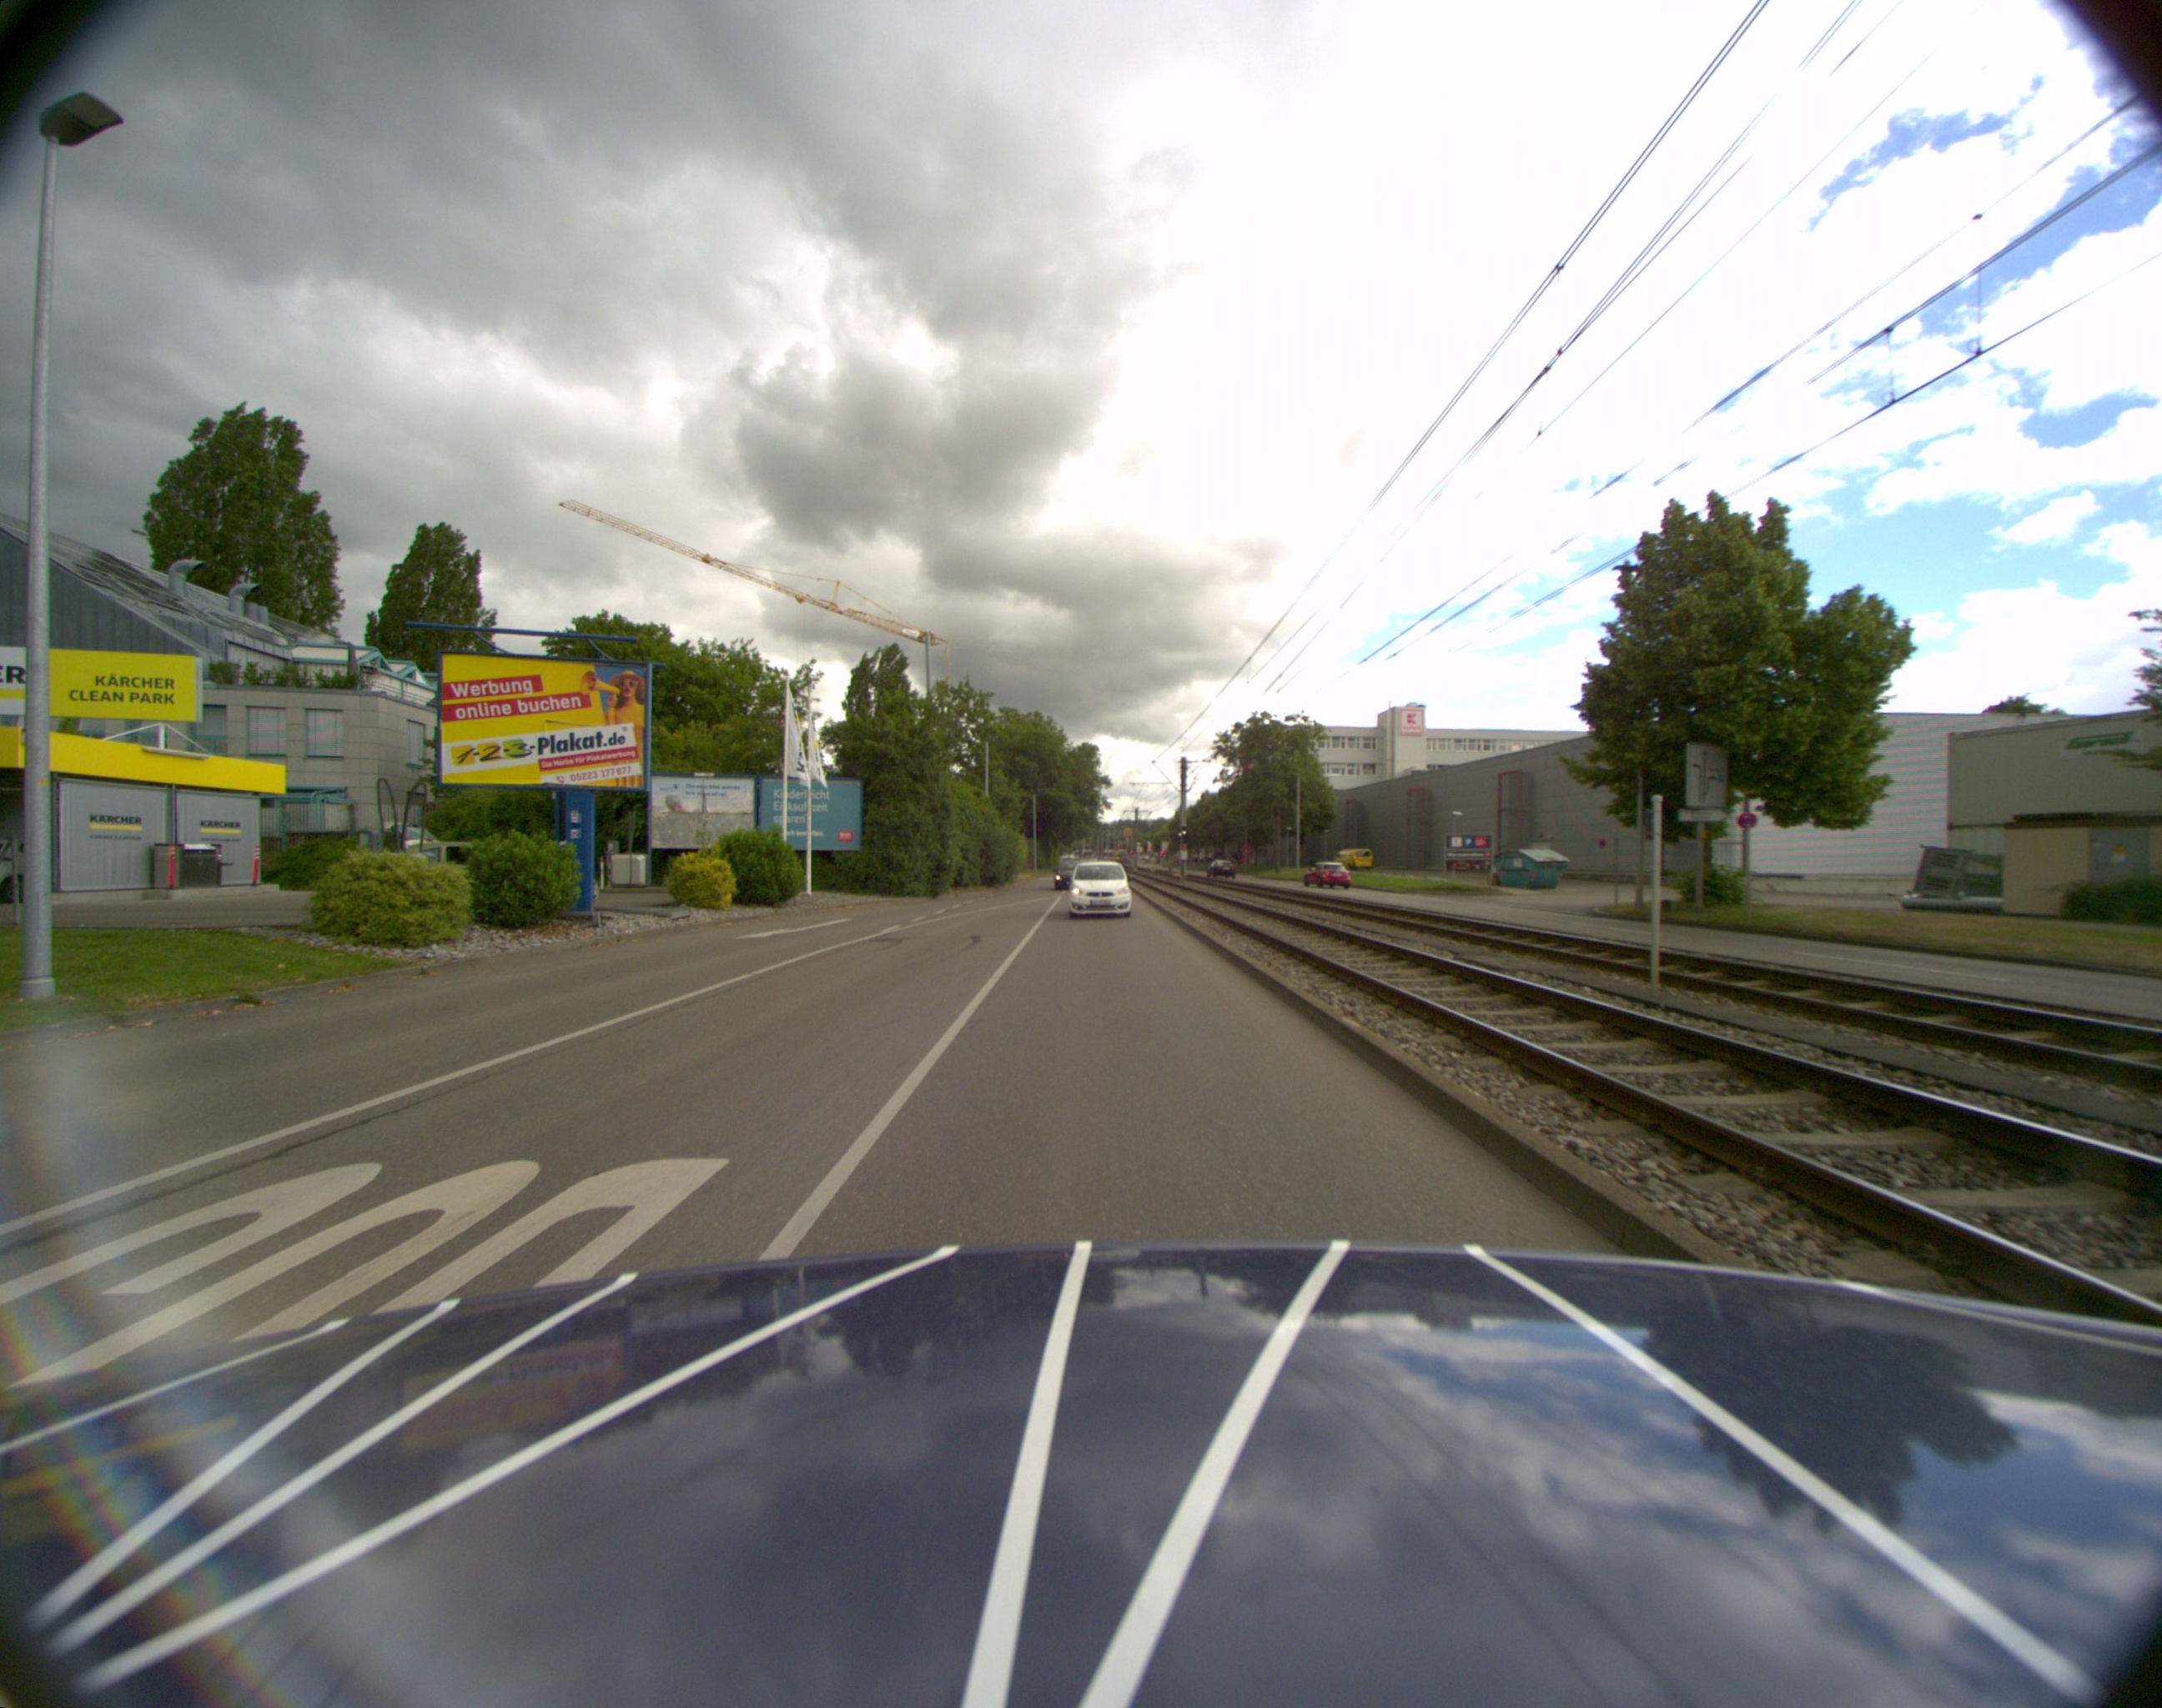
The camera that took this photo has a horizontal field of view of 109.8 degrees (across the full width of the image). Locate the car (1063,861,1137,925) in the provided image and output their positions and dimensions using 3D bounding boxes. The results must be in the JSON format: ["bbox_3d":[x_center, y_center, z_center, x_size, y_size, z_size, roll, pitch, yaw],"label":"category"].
[{"bbox_3d":[0.469,0.975,20.523,1.764,1.469,4.031,-2,0,0],"label":"car"}]

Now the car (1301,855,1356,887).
[{"bbox_3d":[14.084,0.938,43.414,1.797,1.761,3.999,0,0,-1],"label":"car"}]

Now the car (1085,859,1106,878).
[{"bbox_3d":[1.228,1.187,64.052,1.693,1.521,4.000,-2,0,1],"label":"car"}]

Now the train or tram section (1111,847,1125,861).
[{"bbox_3d":[10.033,-0.054,208.915,2.778,3.753,13.785,0,0,-1],"label":"train or tram section"}]

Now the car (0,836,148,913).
[{"bbox_3d":[-24.056,0.419,17.422,1.633,1.630,3.525,0,0,-16],"label":"car"}]

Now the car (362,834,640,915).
[{"bbox_3d":[-12.785,0.426,17.141,4.029,1.646,2.944,0,0,-6],"label":"car"}]

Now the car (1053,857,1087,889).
[{"bbox_3d":[-0.536,0.960,40.440,1.714,1.586,4.000,-1,0,1],"label":"car"}]

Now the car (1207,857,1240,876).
[{"bbox_3d":[11.588,0.993,61.987,1.763,1.393,4.443,2,0,0],"label":"car"}]

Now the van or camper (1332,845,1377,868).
[{"bbox_3d":[25.048,0.254,69.790,2.109,2.002,5.241,0,0,-2],"label":"van or camper"}]
